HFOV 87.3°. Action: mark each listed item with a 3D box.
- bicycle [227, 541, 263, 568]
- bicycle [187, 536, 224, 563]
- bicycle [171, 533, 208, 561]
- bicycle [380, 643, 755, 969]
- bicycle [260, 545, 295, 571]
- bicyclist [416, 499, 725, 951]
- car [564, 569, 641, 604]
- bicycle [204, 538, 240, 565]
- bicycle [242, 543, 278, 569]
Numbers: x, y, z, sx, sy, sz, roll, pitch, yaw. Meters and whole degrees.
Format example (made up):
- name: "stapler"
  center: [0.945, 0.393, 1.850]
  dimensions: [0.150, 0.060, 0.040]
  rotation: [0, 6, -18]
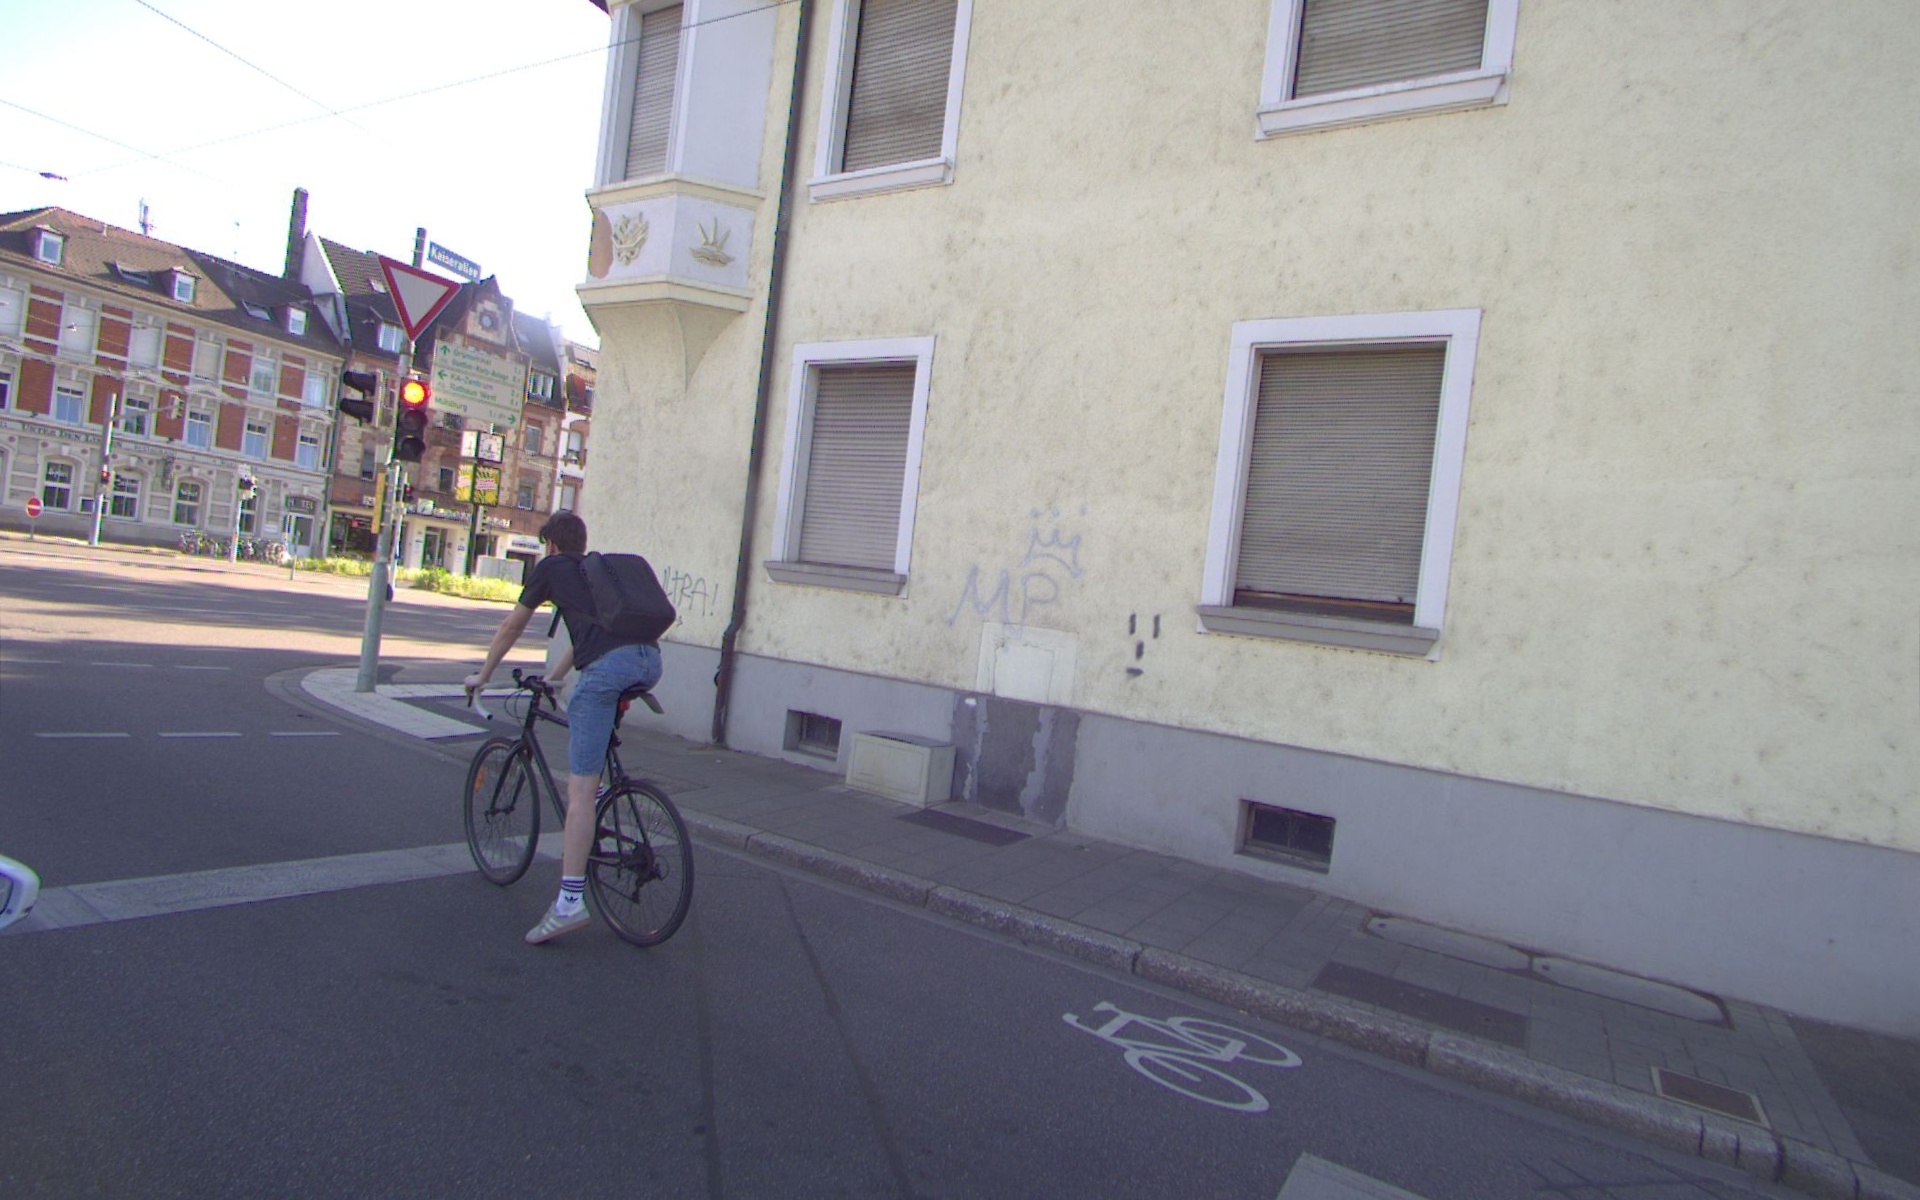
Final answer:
- name: "bicycle"
  center: [-33.651, -2.152, 47.337]
  dimensions: [1.614, 1.064, 0.606]
  rotation: [7, 0, 27]
- name: "bicycle"
  center: [-34.648, -2.329, 46.191]
  dimensions: [1.614, 1.064, 0.606]
  rotation: [7, 0, 27]
- name: "bicycle"
  center: [-34.947, -2.392, 45.608]
  dimensions: [1.614, 1.064, 0.606]
  rotation: [7, 0, 27]
- name: "bicycle"
  center: [-1.796, 0.822, 4.489]
  dimensions: [1.729, 1.029, 0.532]
  rotation: [7, 0, 32]
- name: "bicycle"
  center: [-32.983, -2.014, 48.584]
  dimensions: [1.614, 1.064, 0.606]
  rotation: [7, 0, 27]
- name: "bicyclist"
  center: [-1.741, 0.489, 4.486]
  dimensions: [1.066, 1.751, 0.561]
  rotation: [6, -1, 32]
- name: "car"
  center: [-23.125, -0.864, 65.305]
  dimensions: [1.966, 1.674, 4.378]
  rotation: [7, -1, 29]
- name: "bicycle"
  center: [-34.317, -2.262, 46.766]
  dimensions: [1.614, 1.064, 0.606]
  rotation: [7, 0, 27]
- name: "bicycle"
  center: [-33.357, -2.089, 47.947]
  dimensions: [1.614, 1.064, 0.606]
  rotation: [7, 0, 27]
